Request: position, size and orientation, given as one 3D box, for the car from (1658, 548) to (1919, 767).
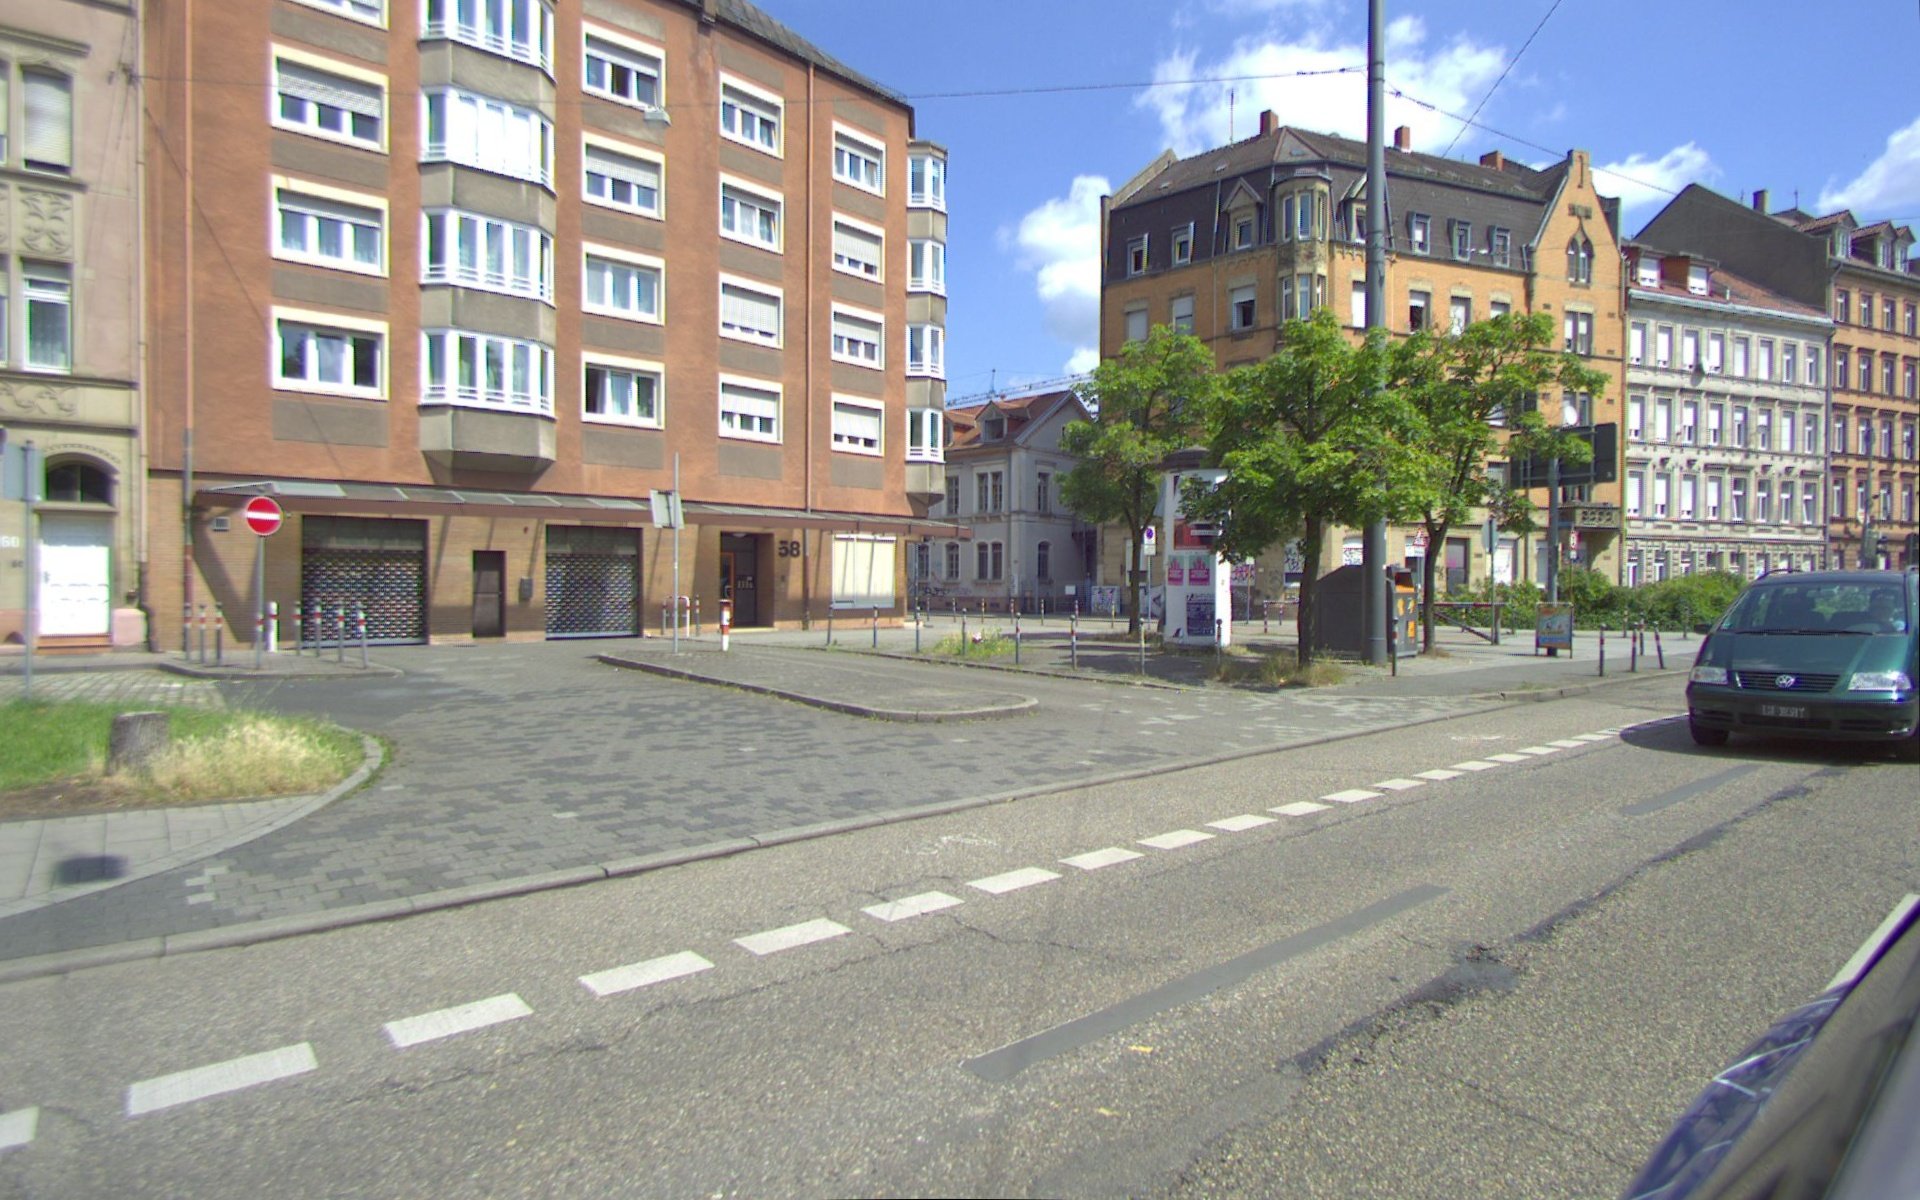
[{"bbox_3d":[9.203,0.398,10.437,4.939,1.778,1.823,-2,1,-37],"label":"car"}]
